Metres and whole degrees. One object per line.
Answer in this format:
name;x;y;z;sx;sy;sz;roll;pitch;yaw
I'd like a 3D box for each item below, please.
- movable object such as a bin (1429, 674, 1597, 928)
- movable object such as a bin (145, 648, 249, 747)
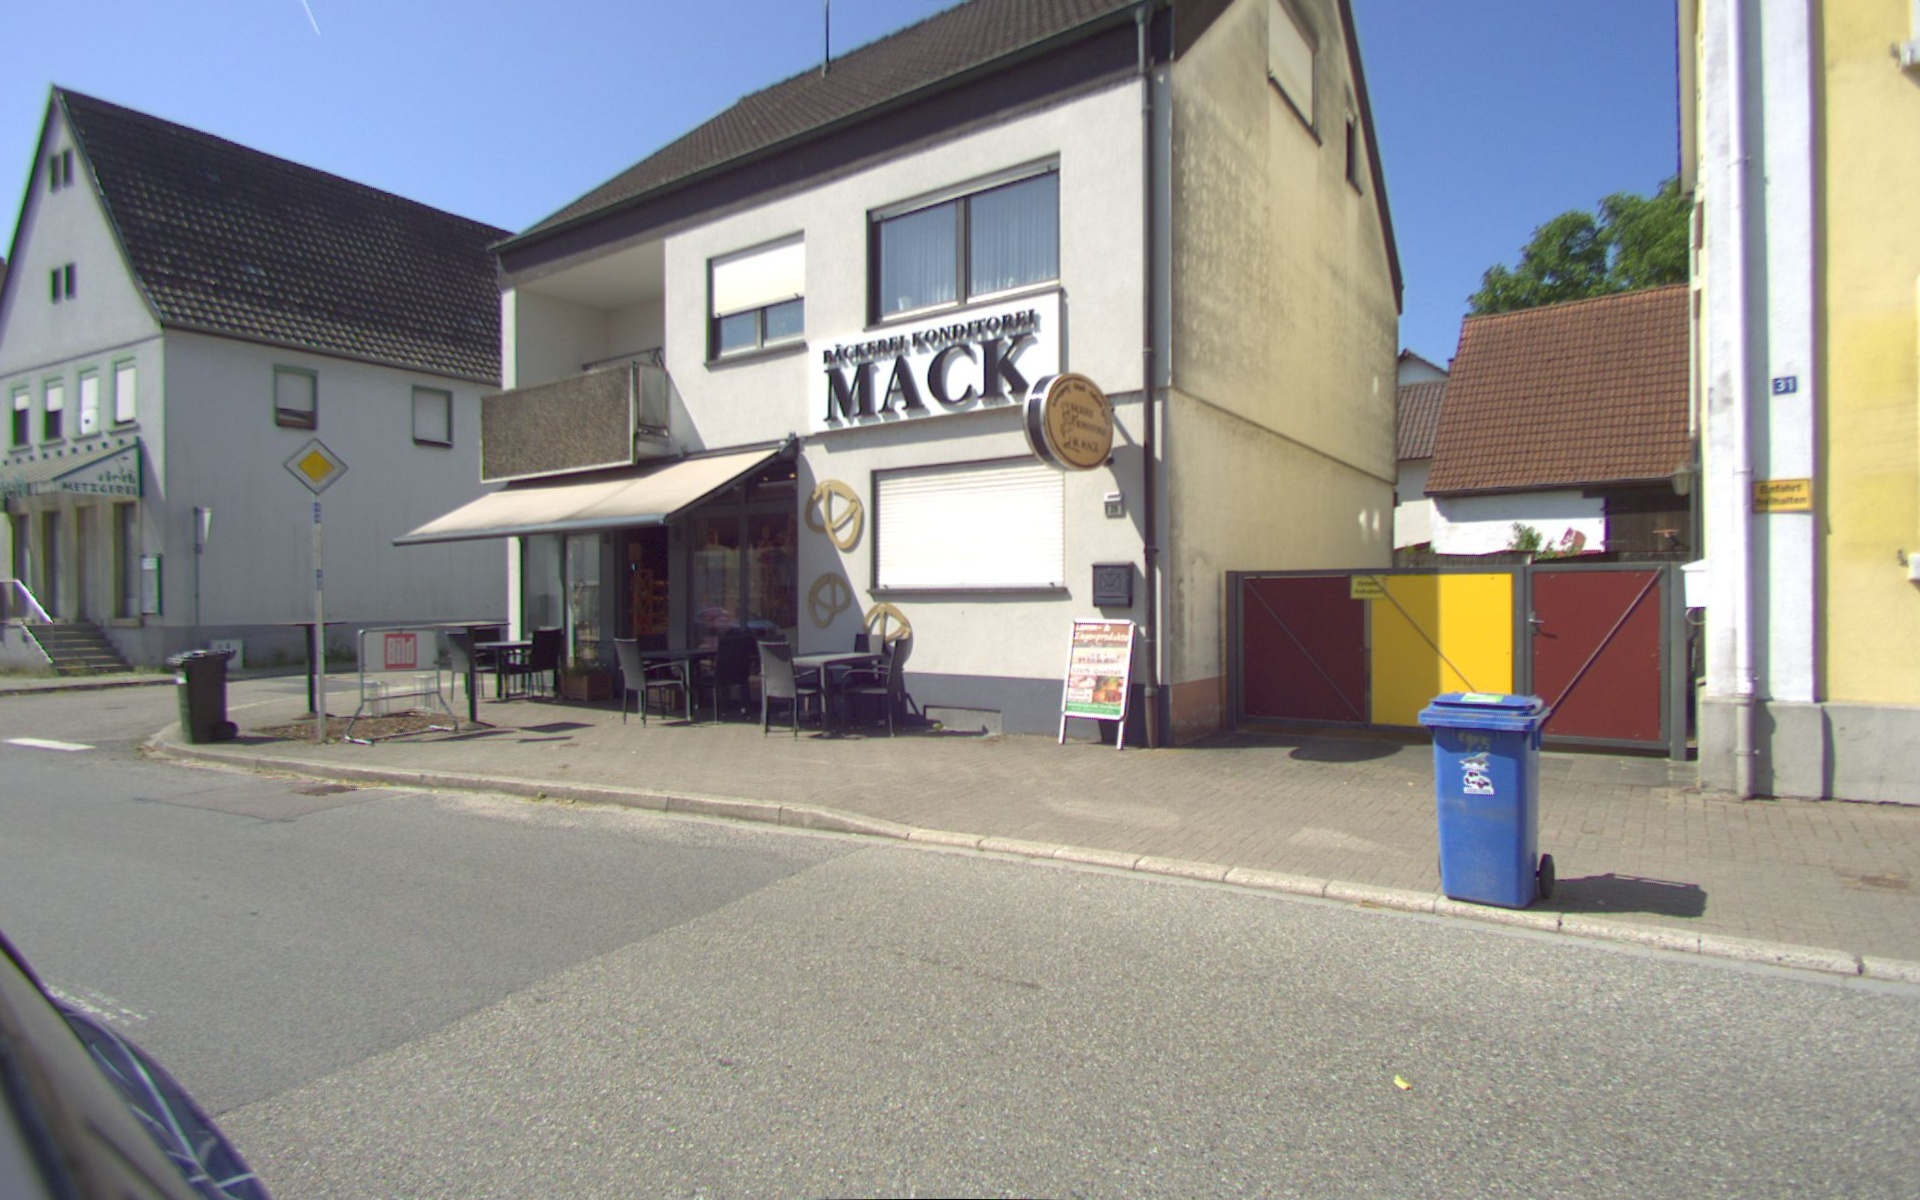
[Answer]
movable object such as a bin;2.493;0.859;4.600;0.611;0.988;0.639;-1;0;28
movable object such as a bin;-7.801;0.977;10.354;0.610;0.931;0.639;-1;0;25
